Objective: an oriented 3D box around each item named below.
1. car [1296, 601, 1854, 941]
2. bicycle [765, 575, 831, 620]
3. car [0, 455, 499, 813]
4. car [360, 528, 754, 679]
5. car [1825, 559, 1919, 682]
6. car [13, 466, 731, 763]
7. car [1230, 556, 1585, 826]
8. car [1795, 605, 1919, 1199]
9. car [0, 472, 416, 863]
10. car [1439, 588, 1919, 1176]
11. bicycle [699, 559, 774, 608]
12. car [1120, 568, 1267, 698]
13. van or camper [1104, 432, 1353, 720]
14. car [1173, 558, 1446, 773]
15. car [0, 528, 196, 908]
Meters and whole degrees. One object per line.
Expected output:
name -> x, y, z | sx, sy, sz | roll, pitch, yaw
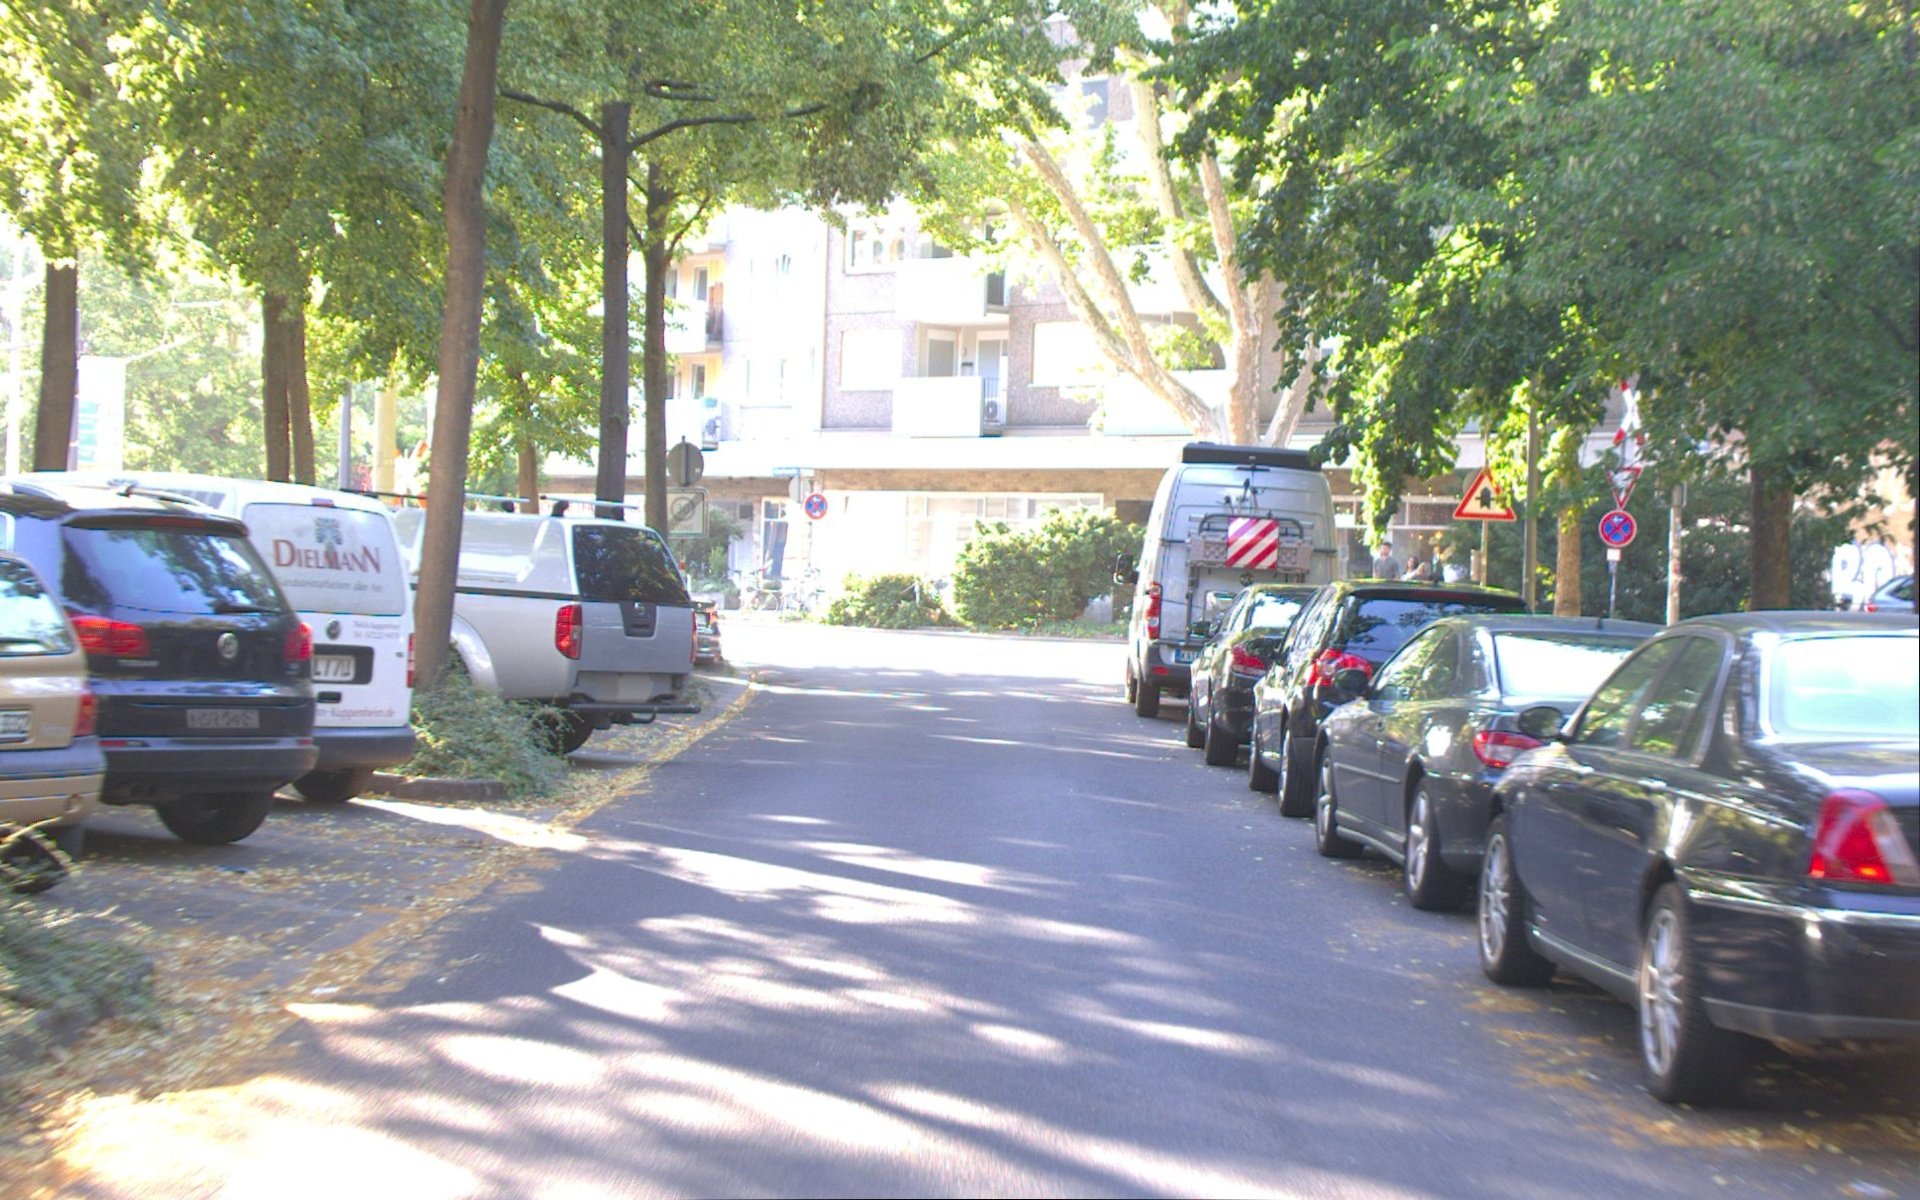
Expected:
car -> 2.734, 0.706, 16.240 | 1.680, 1.279, 4.288 | 2, 1, -2
bicycle -> -3.465, -0.059, 73.583 | 0.542, 0.901, 1.736 | 1, 1, -35
car -> -4.894, 0.110, 19.807 | 4.156, 1.775, 1.880 | 5, 1, 35
car -> -4.764, 0.043, 40.610 | 4.192, 1.434, 1.829 | 5, 1, 24
car -> 13.805, 0.332, 45.375 | 1.737, 1.547, 4.274 | 5, -2, -45
car -> -4.431, 0.082, 25.755 | 4.994, 1.775, 1.984 | 5, 1, 27
car -> 2.790, 0.506, 22.266 | 1.680, 1.520, 4.287 | 2, 1, 0
car -> 2.750, 0.794, 5.049 | 1.680, 1.449, 4.077 | 2, 1, -6
car -> -4.915, 0.187, 16.625 | 4.155, 1.638, 1.911 | 5, 1, 31
car -> 2.748, 0.724, 11.012 | 1.680, 1.419, 4.659 | 2, 1, -1
bicycle -> -4.909, -0.360, 75.356 | 0.638, 1.019, 2.088 | 1, 1, -34
car -> 2.923, 0.382, 43.570 | 1.680, 1.441, 3.871 | 4, 1, 3
van or camper -> 2.752, -0.276, 36.606 | 2.084, 2.753, 5.845 | 2, 1, 0
car -> 2.718, 0.458, 27.630 | 1.680, 1.520, 4.490 | 2, 1, 0
car -> -5.055, 0.334, 13.889 | 3.423, 1.421, 1.831 | 5, 1, 30
